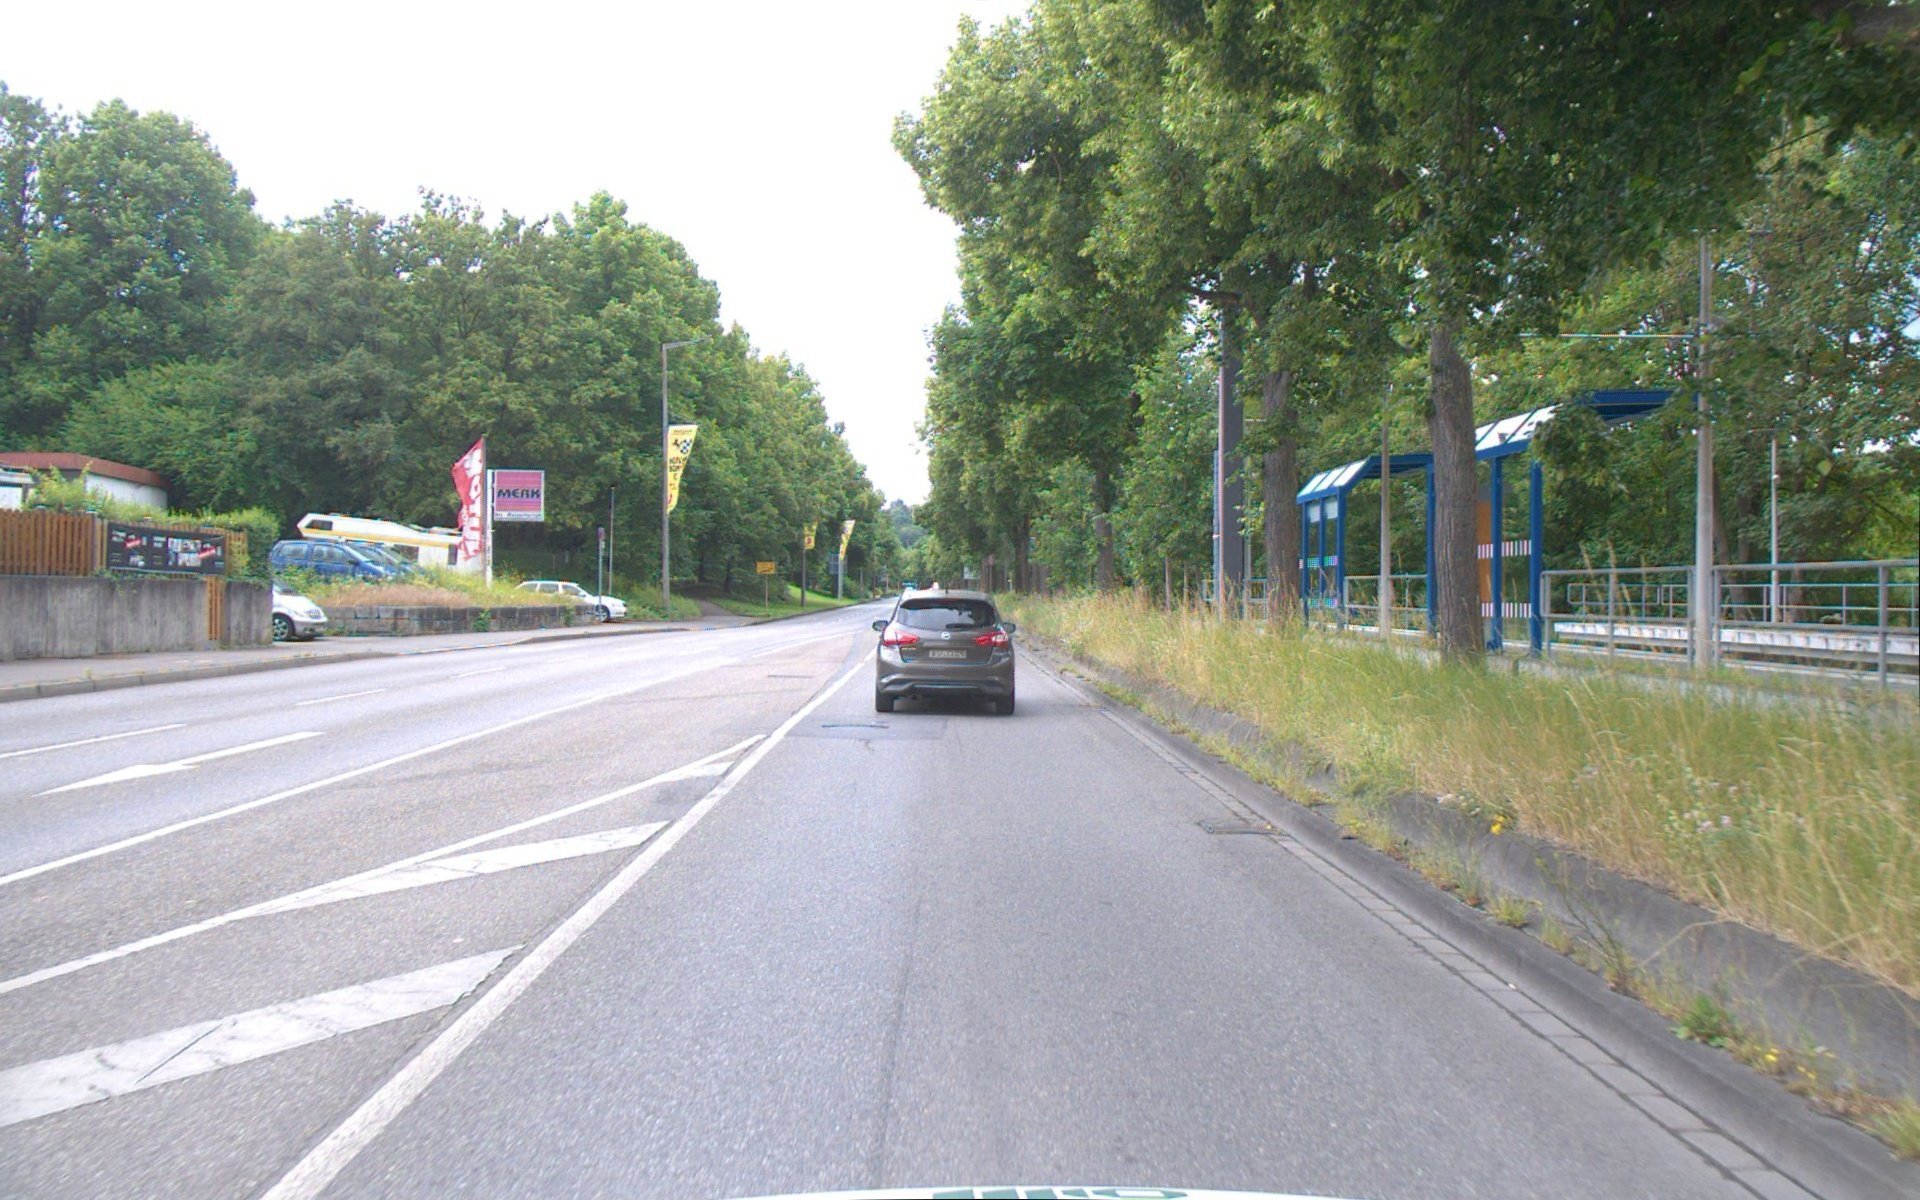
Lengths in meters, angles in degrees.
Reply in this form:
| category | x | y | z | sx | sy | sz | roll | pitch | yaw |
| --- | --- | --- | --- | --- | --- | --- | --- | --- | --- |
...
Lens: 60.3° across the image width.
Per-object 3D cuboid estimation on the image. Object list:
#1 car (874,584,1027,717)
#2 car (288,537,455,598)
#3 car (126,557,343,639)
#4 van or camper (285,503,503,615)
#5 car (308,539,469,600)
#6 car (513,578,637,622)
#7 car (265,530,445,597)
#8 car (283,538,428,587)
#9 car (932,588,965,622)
| category | x | y | z | sx | sy | sz | roll | pitch | yaw |
| --- | --- | --- | --- | --- | --- | --- | --- | --- | --- |
| car | -0.081 | 0.603 | 21.764 | 1.799 | 1.555 | 3.929 | 1 | 0 | 1 |
| car | -15.885 | -0.870 | 44.744 | 3.903 | 1.435 | 1.534 | 2 | -1 | 4 |
| car | -16.229 | -0.041 | 37.130 | 3.905 | 1.645 | 2.000 | 2 | -1 | 0 |
| van or camper | -21.377 | -1.515 | 62.756 | 6.999 | 3.428 | 2.796 | 6 | 0 | -1 |
| car | -16.104 | -0.853 | 46.698 | 3.903 | 1.518 | 1.648 | 2 | -1 | 4 |
| car | -14.651 | 0.003 | 63.097 | 4.288 | 1.466 | 1.960 | 2 | 0 | -4 |
| car | -15.633 | -0.925 | 42.879 | 3.903 | 1.523 | 1.860 | 2 | -1 | 4 |
| car | -19.686 | -1.198 | 53.975 | 3.903 | 1.393 | 2.001 | 2 | -1 | 4 |
| car | -0.536 | 0.231 | 78.796 | 1.472 | 1.555 | 3.671 | 2 | 0 | 1 |
